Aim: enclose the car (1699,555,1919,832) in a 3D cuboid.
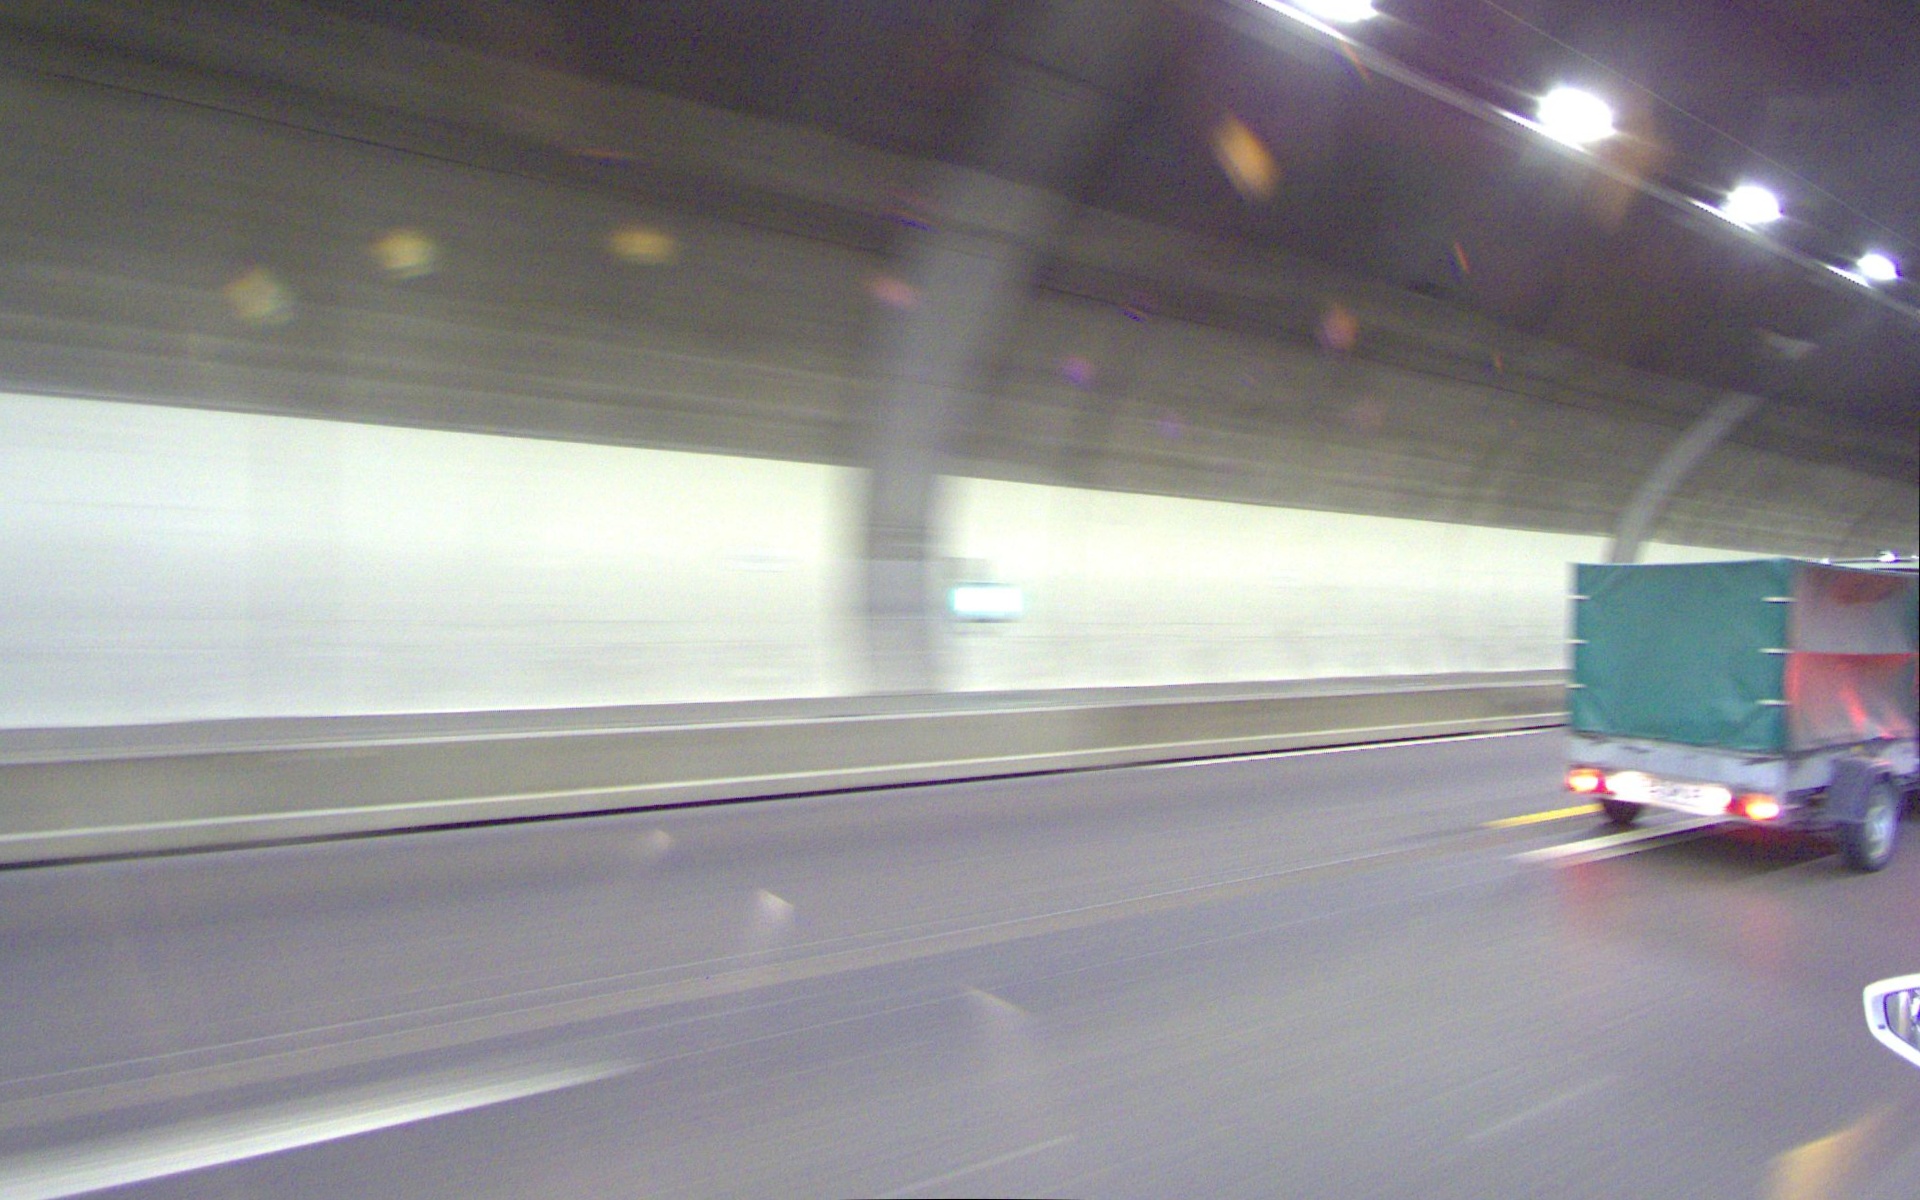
[{"bbox_3d":[8.859,0.696,8.695,5.391,1.920,1.983,1,2,-31],"label":"car"}]
